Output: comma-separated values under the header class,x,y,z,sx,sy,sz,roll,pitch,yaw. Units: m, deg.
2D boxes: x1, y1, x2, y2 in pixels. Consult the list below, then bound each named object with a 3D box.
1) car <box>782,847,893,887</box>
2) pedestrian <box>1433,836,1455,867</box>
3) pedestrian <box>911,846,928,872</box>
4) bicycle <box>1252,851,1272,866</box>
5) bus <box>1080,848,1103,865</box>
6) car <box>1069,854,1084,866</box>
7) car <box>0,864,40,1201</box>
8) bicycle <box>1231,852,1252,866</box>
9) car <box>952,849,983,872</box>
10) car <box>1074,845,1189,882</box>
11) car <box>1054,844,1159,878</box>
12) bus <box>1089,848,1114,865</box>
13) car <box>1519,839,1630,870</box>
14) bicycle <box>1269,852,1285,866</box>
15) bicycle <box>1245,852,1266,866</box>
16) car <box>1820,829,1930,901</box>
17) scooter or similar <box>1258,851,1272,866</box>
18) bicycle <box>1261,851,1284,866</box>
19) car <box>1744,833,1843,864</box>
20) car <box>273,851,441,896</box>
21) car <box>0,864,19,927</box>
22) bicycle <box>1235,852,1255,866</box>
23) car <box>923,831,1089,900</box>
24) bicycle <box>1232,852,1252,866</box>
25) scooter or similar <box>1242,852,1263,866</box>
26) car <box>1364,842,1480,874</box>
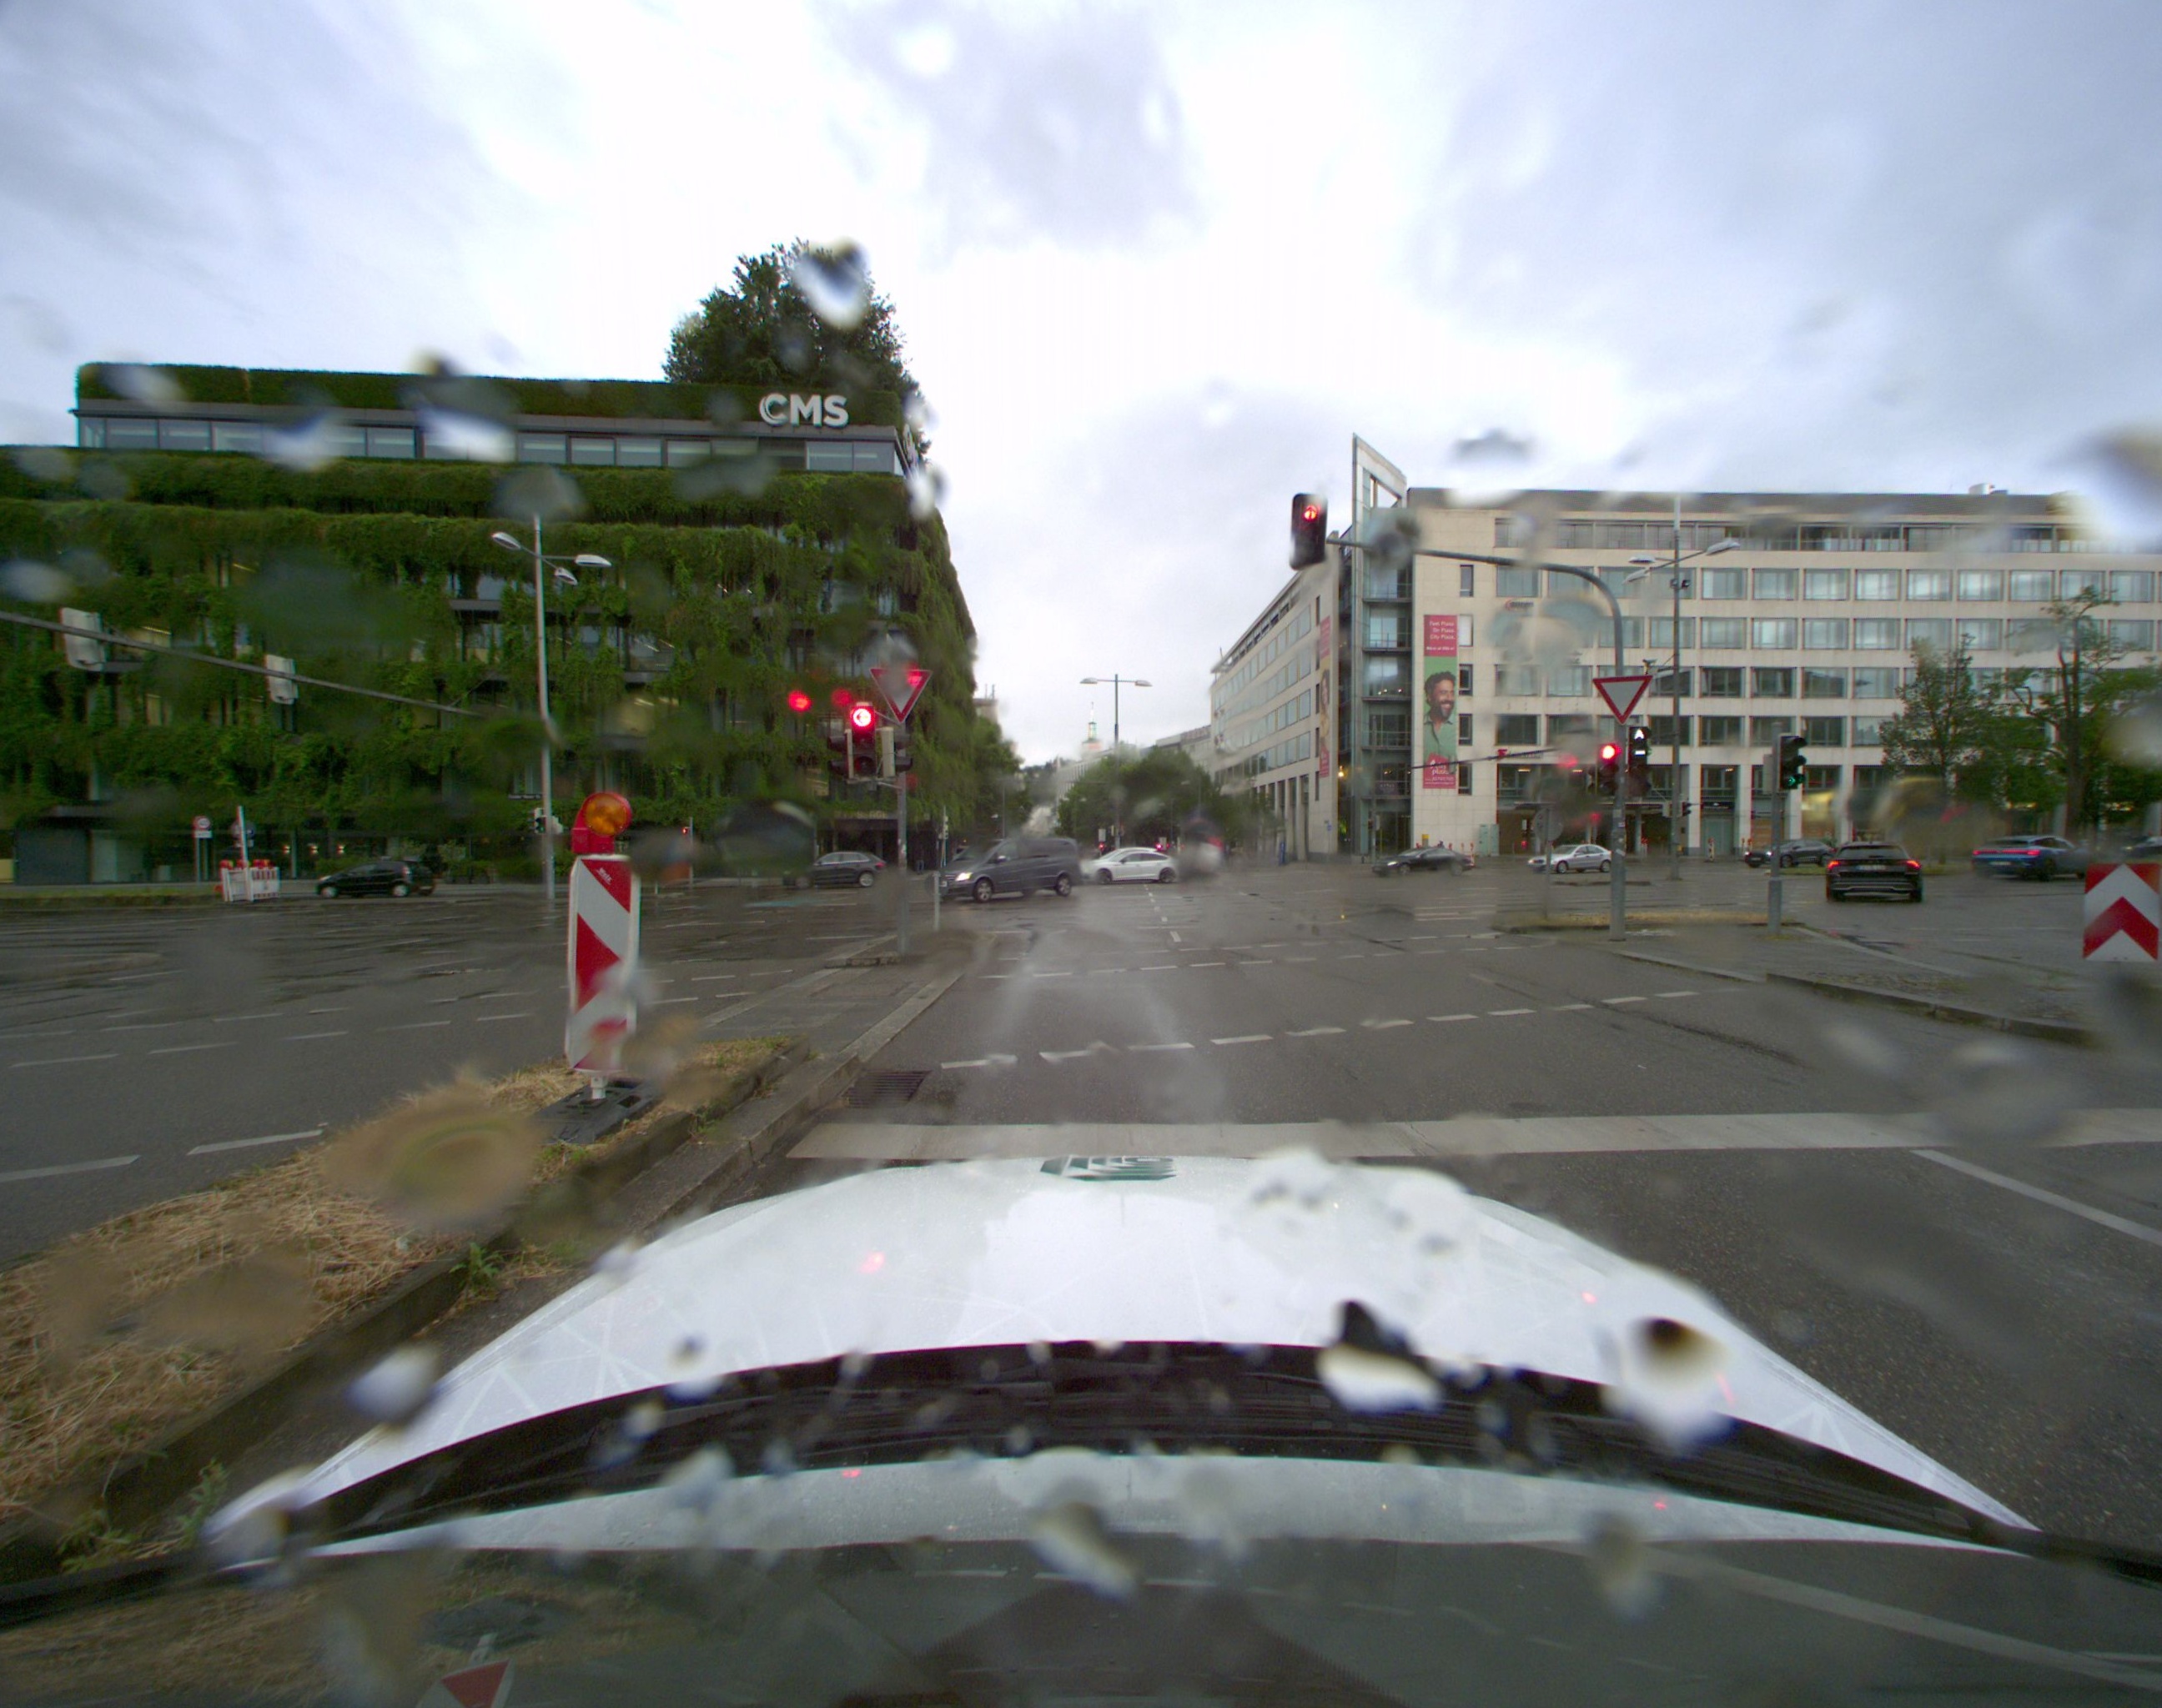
class,x,y,z,sx,sy,sz,roll,pitch,yaw
car,-10.422,0.526,35.179,4.406,1.638,1.992,0,-1,-11
pedestrian,21.875,-0.161,49.083,0.958,1.816,0.837,0,-1,1
pedestrian,-10.452,0.345,52.787,0.930,1.644,0.774,0,-1,1
bicycle,14.732,0.385,66.209,0.588,1.194,1.768,0,-1,-26
bus,1.990,0.436,153.280,2.631,2.995,7.415,-1,0,-13
car,-0.693,0.978,126.960,2.158,1.765,5.108,2,0,-2
car,-5.744,0.792,1.644,1.681,1.510,4.292,0,0,1
bicycle,14.300,0.440,72.602,1.770,1.194,0.587,0,-1,3
car,-9.555,0.536,68.733,1.863,1.839,4.001,0,-1,2
car,2.168,0.407,35.392,4.690,1.512,1.802,0,-1,-14
car,1.184,0.319,38.420,4.690,1.512,1.802,0,-1,-14
bus,3.683,0.426,146.087,2.631,2.995,7.415,-1,0,-13
car,24.690,0.013,40.822,4.723,1.477,1.991,-1,0,-13
bicycle,16.055,0.406,66.734,0.579,1.194,1.794,-1,-1,40
bicycle,15.292,0.423,71.408,1.770,1.194,0.587,0,-1,3
car,20.884,0.236,21.405,4.023,1.695,1.911,-1,0,-45
scooter or similar,14.424,0.369,63.978,0.951,1.194,0.458,-1,-1,42
bicycle,15.205,0.369,64.644,1.607,1.194,0.590,-1,-1,27
car,38.573,-0.299,44.092,4.481,1.609,1.823,0,-1,-14
car,-27.885,0.745,31.521,4.406,1.638,1.992,0,-1,-11
car,-27.337,1.001,18.306,3.981,1.475,1.996,-1,0,-6
bicycle,14.942,0.448,74.139,1.770,1.194,0.587,0,-1,3
car,-2.241,0.339,25.330,4.993,1.927,1.975,0,-1,-44
bicycle,14.475,0.444,73.233,1.770,1.194,0.587,0,-1,3
scooter or similar,14.912,0.421,70.794,1.770,1.194,0.587,0,-1,3
car,16.266,0.192,38.964,4.850,1.477,1.992,0,-2,-12
